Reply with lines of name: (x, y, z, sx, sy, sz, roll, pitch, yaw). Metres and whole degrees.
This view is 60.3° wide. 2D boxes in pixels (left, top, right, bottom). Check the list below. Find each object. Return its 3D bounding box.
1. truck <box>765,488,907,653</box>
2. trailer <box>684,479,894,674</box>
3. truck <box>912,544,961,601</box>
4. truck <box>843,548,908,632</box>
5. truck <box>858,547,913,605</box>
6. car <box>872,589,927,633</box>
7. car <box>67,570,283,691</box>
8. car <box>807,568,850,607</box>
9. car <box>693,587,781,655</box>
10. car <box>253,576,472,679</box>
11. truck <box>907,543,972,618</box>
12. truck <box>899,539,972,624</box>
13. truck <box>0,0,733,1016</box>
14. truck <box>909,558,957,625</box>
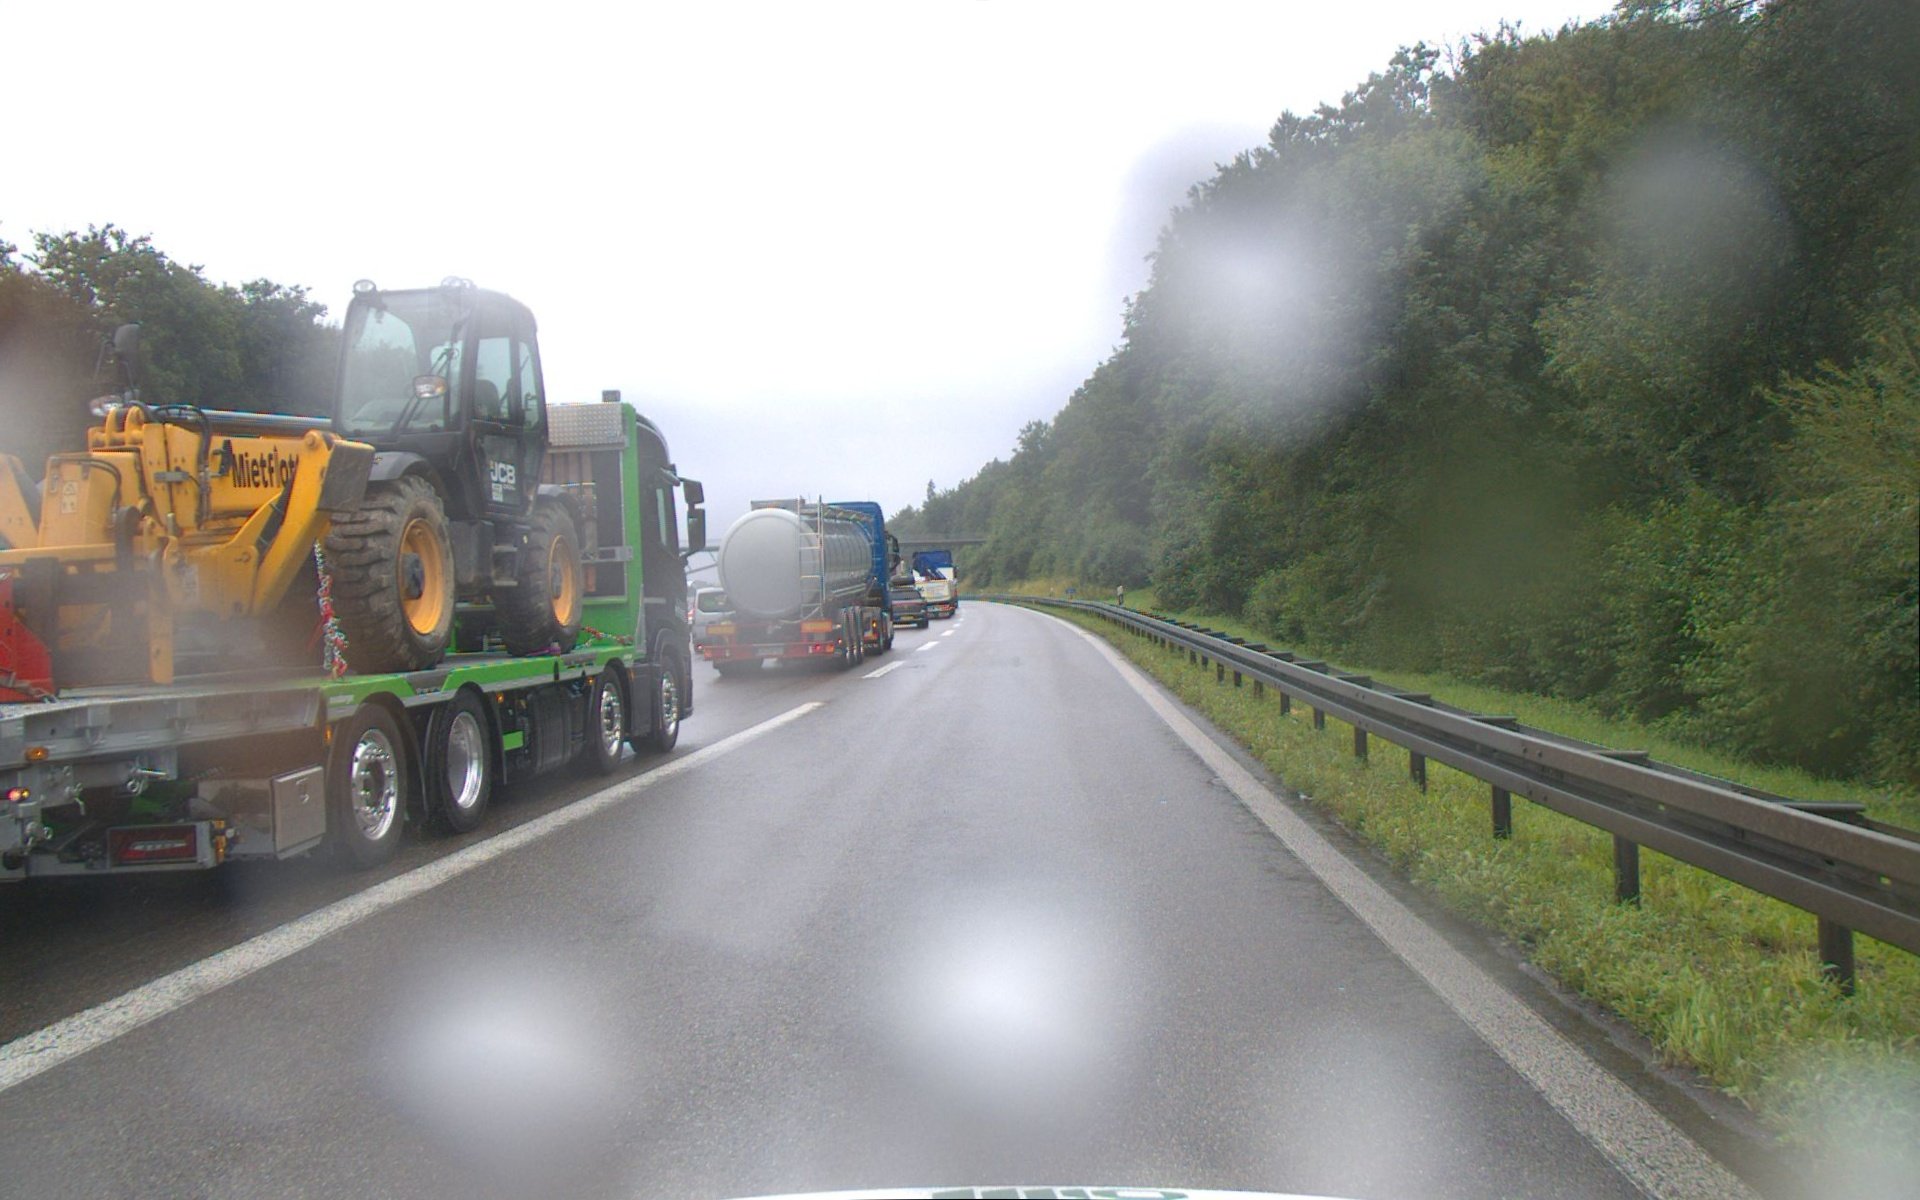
truck: (-2.994, -0.715, 41.329, 2.817, 3.758, 5.058, -2, 0, 2)
trailer: (-3.255, -0.467, 34.499, 2.814, 3.346, 10.081, -2, 0, 2)
truck: (-1.877, -2.103, 131.452, 3.678, 4.040, 11.056, 1, -1, -1)
truck: (-5.896, -0.587, 116.969, 3.676, 5.596, 10.174, 1, -1, 2)
truck: (-5.866, -1.833, 132.392, 3.502, 4.167, 10.880, -2, -1, 2)
car: (-2.397, 0.457, 66.548, 1.952, 1.665, 4.000, 1, -1, 1)
car: (-14.270, 0.567, 30.340, 1.760, 2.049, 4.002, 1, -1, 4)
car: (-6.766, -0.613, 85.542, 1.760, 1.870, 4.000, 1, -1, 2)
car: (-6.334, 0.574, 47.370, 1.781, 1.798, 4.001, -2, 0, 2)
car: (-10.672, 0.434, 29.967, 1.952, 1.621, 4.810, -3, 0, 3)
truck: (-1.188, -1.147, 105.266, 3.434, 4.343, 10.605, 1, -1, 3)
truck: (-1.268, -0.983, 89.526, 3.527, 4.176, 11.559, -3, 0, 0)
truck: (-4.223, -0.389, 11.438, 2.772, 3.651, 11.803, -3, 0, 4)
truck: (-2.447, -0.727, 153.314, 4.248, 5.865, 9.728, 1, -1, -1)
